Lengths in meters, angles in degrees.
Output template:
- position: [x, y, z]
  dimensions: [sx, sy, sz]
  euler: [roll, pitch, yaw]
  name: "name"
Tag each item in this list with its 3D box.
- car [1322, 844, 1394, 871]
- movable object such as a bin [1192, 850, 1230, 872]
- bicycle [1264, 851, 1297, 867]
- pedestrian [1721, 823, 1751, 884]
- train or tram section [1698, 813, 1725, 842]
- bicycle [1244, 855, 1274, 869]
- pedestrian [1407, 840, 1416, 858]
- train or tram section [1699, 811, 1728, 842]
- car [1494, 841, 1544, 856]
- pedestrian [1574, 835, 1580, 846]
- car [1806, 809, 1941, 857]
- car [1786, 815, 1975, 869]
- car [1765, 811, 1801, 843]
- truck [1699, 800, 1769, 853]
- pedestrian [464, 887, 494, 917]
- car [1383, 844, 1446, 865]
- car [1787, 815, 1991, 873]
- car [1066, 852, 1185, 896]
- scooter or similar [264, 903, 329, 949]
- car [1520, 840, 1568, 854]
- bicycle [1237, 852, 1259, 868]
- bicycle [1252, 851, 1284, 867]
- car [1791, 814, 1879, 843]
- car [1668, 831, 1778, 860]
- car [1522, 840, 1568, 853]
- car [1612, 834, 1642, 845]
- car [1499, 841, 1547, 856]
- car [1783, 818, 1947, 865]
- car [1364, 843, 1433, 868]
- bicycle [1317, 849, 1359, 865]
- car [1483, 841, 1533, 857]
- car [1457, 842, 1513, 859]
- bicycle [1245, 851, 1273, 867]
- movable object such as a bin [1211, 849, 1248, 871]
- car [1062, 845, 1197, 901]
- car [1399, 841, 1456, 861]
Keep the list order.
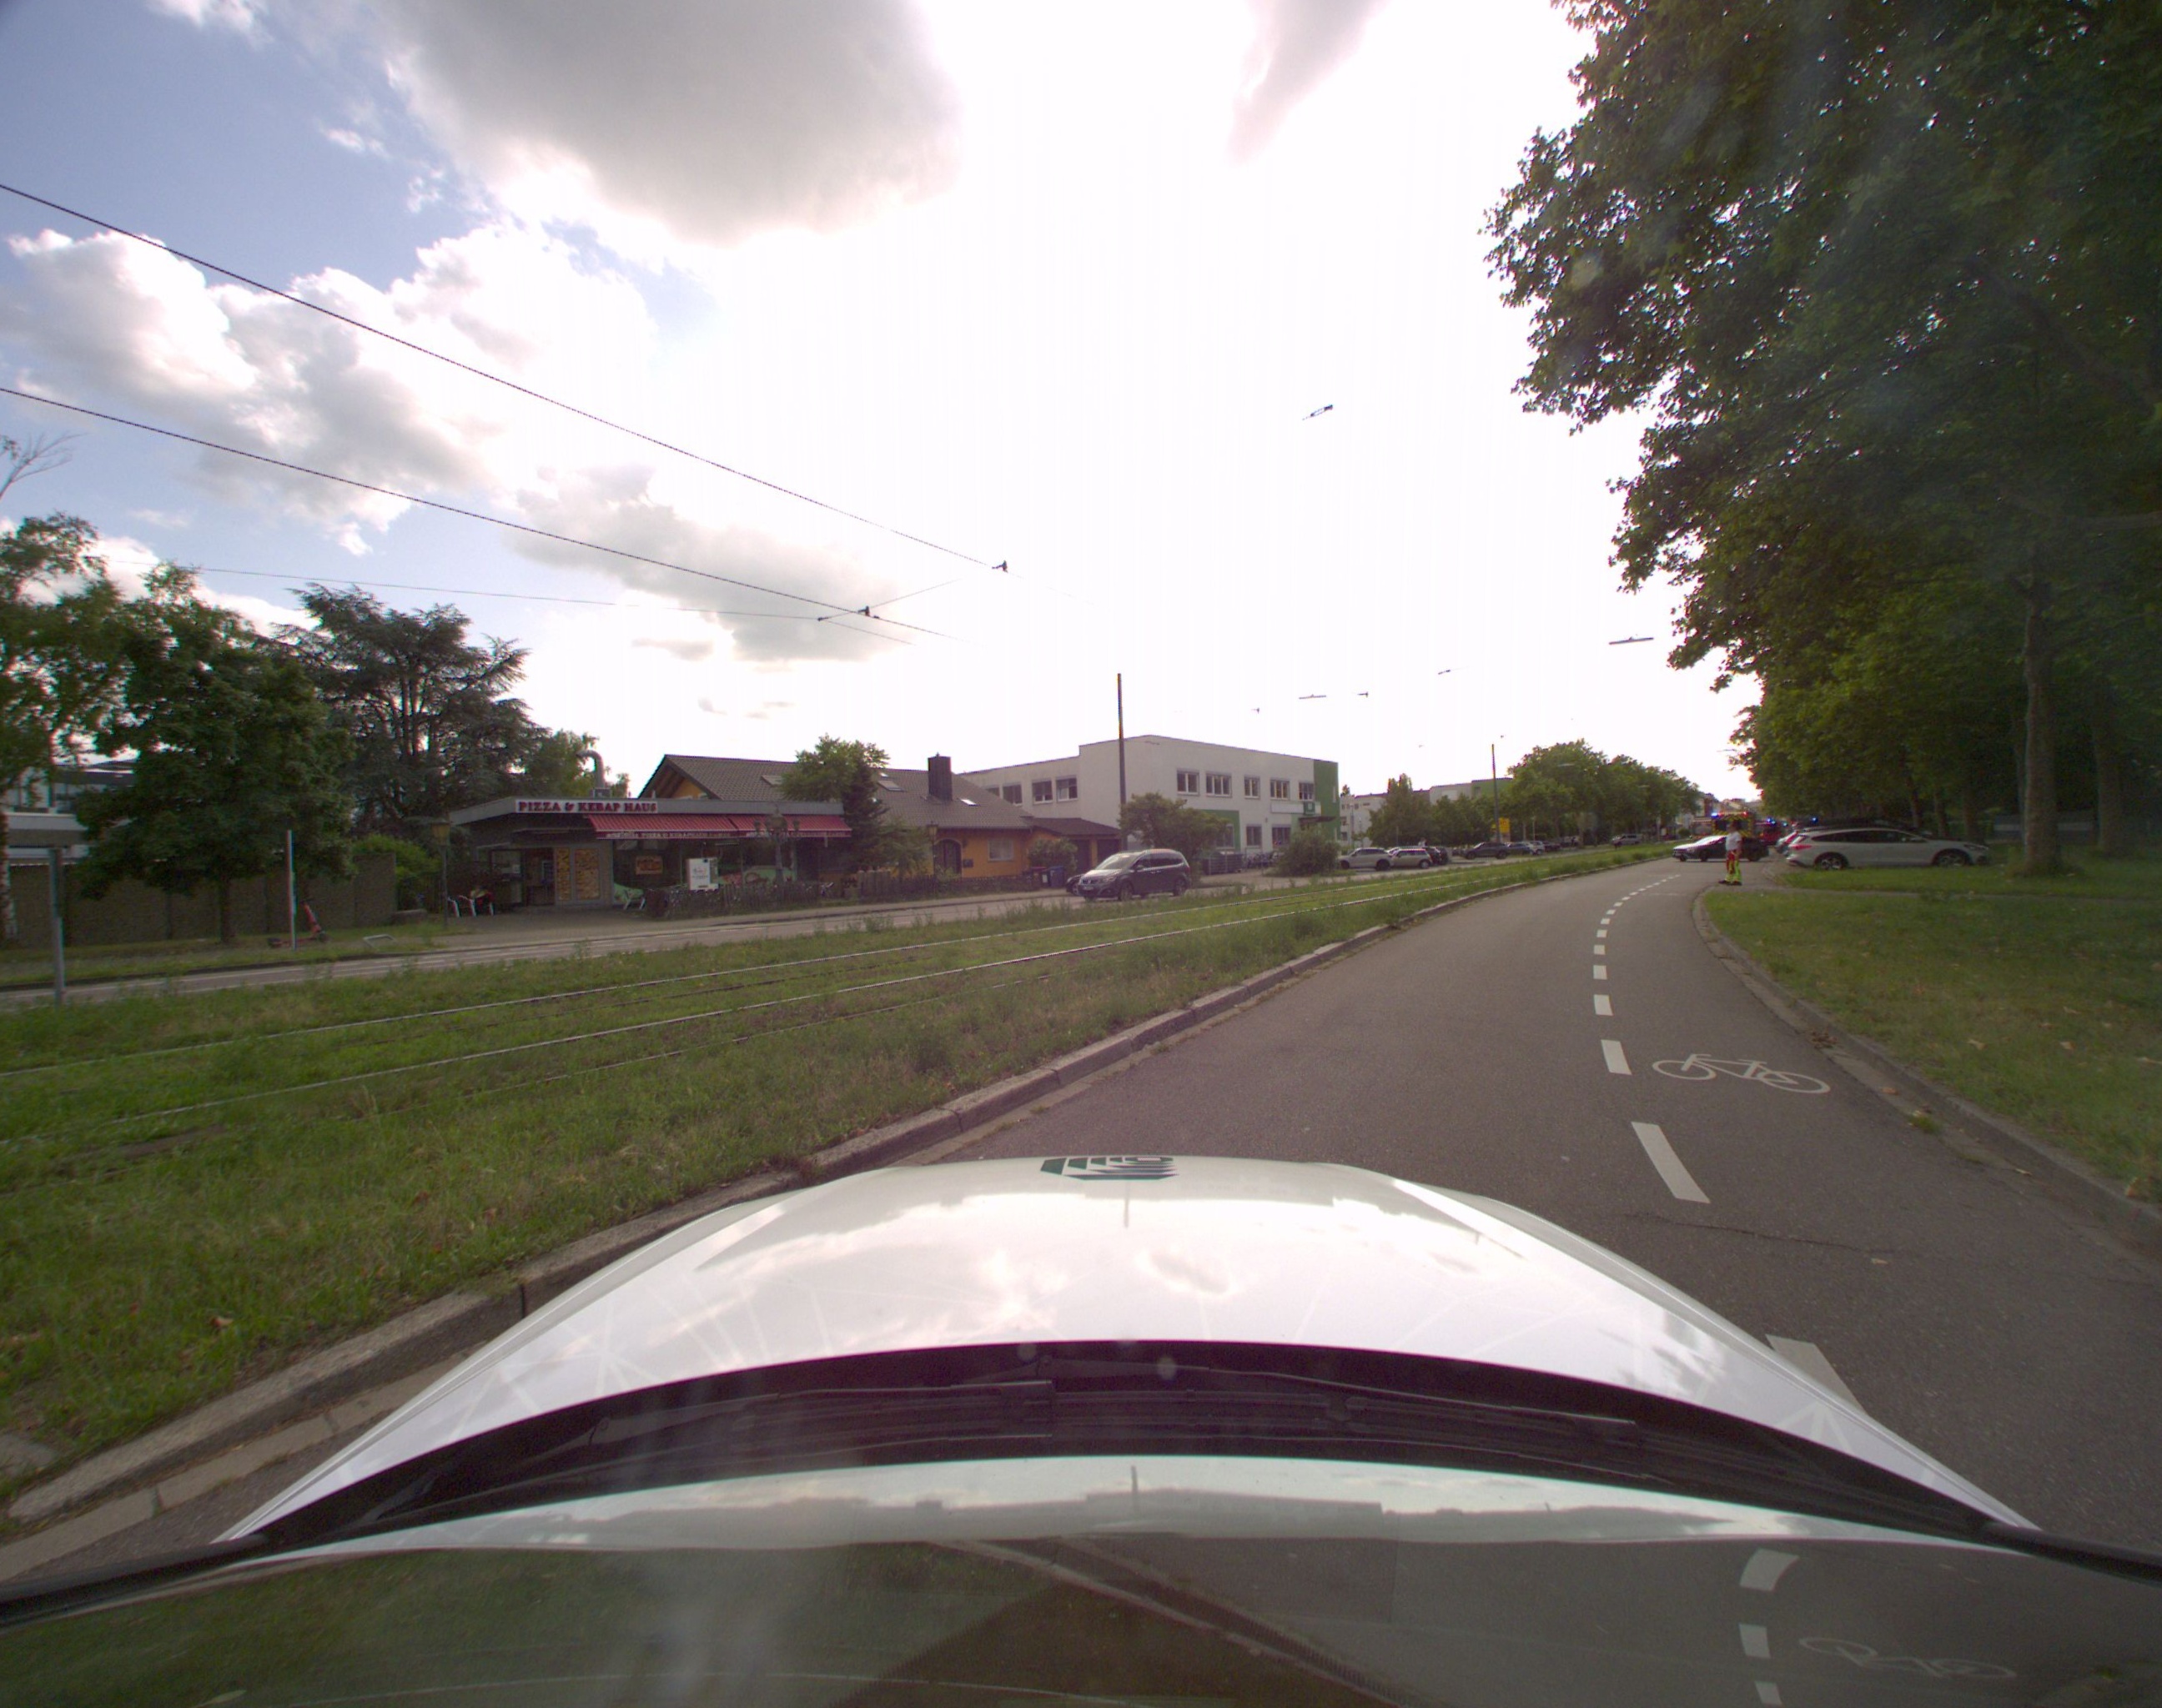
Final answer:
- position: [18.615, 0.239, 54.837]
  dimensions: [4.276, 1.629, 1.907]
  euler: [-2, 0, 9]
  name: "car"
- position: [8.265, 0.441, 51.879]
  dimensions: [2.129, 1.326, 1.359]
  euler: [-2, 0, -45]
  name: "movable object such as a bin"
- position: [15.324, 0.368, 62.602]
  dimensions: [0.752, 1.166, 2.389]
  euler: [-2, 0, -41]
  name: "bicycle"
- position: [18.271, -0.015, 22.710]
  dimensions: [0.580, 1.684, 0.497]
  euler: [-2, -1, 43]
  name: "pedestrian"
- position: [83.632, -3.520, 108.116]
  dimensions: [2.463, 3.596, 7.470]
  euler: [-3, 0, 36]
  name: "train or tram section"
- position: [13.462, 0.587, 61.505]
  dimensions: [0.735, 0.970, 2.132]
  euler: [-2, 0, -44]
  name: "bicycle"
- position: [30.347, -0.458, 74.786]
  dimensions: [0.590, 1.674, 0.544]
  euler: [-3, 0, 33]
  name: "pedestrian"
- position: [79.235, -3.418, 102.106]
  dimensions: [2.463, 3.596, 7.470]
  euler: [-3, 0, 36]
  name: "train or tram section"
- position: [45.688, -0.543, 85.007]
  dimensions: [4.265, 1.364, 1.911]
  euler: [-2, 0, 19]
  name: "car"
- position: [77.657, -2.170, 127.464]
  dimensions: [0.614, 1.729, 0.650]
  euler: [0, 0, 42]
  name: "pedestrian"
- position: [37.964, -0.955, 39.200]
  dimensions: [4.499, 2.014, 2.012]
  euler: [-3, -1, 43]
  name: "car"
- position: [27.560, -0.362, 28.336]
  dimensions: [4.484, 1.644, 2.012]
  euler: [-2, -2, 40]
  name: "car"
- position: [77.178, -2.868, 89.620]
  dimensions: [2.937, 3.330, 7.506]
  euler: [0, 1, 40]
  name: "car"
- position: [45.313, -1.859, 56.403]
  dimensions: [3.153, 3.317, 7.569]
  euler: [-3, 0, 43]
  name: "truck"
- position: [-20.475, 1.629, 27.699]
  dimensions: [0.731, 0.929, 0.767]
  euler: [-1, 1, -43]
  name: "pedestrian"
- position: [25.086, 0.039, 61.426]
  dimensions: [4.126, 1.504, 1.868]
  euler: [-2, 0, 14]
  name: "car"
- position: [25.874, -0.264, 26.356]
  dimensions: [4.484, 1.644, 2.012]
  euler: [-2, -2, 40]
  name: "car"
- position: [1.898, 0.830, 34.470]
  dimensions: [4.525, 1.580, 2.011]
  euler: [-3, -1, 22]
  name: "car"
- position: [-19.764, 1.814, 20.545]
  dimensions: [1.108, 1.059, 0.398]
  euler: [-1, 0, -33]
  name: "scooter or similar"
- position: [50.747, -0.776, 89.302]
  dimensions: [4.265, 1.364, 1.911]
  euler: [-2, 0, 19]
  name: "car"
- position: [12.376, 0.439, 60.402]
  dimensions: [0.708, 1.166, 1.605]
  euler: [-2, 0, -31]
  name: "bicycle"
- position: [14.237, 0.377, 62.036]
  dimensions: [0.765, 1.166, 2.323]
  euler: [-2, 0, -42]
  name: "bicycle"
- position: [89.381, -2.986, 96.717]
  dimensions: [7.363, 3.330, 2.994]
  euler: [0, 1, 37]
  name: "car"
- position: [35.454, -0.467, 45.063]
  dimensions: [4.570, 1.393, 1.843]
  euler: [-2, 0, 4]
  name: "car"
- position: [53.119, -0.838, 93.386]
  dimensions: [4.265, 1.364, 1.911]
  euler: [-2, 0, 19]
  name: "car"
- position: [95.010, -2.490, 141.827]
  dimensions: [3.962, 1.837, 1.827]
  euler: [0, 0, 10]
  name: "car"
- position: [47.255, -0.577, 87.101]
  dimensions: [4.265, 1.364, 1.911]
  euler: [-2, 0, 19]
  name: "car"
- position: [30.905, -0.450, 32.339]
  dimensions: [4.484, 1.644, 2.012]
  euler: [-2, -2, 40]
  name: "car"
- position: [22.106, 0.105, 56.839]
  dimensions: [4.270, 1.629, 1.909]
  euler: [-2, 0, 14]
  name: "car"
- position: [21.074, 0.250, 66.823]
  dimensions: [3.103, 1.166, 1.149]
  euler: [-2, 0, 38]
  name: "bicycle"
- position: [43.293, -0.497, 82.667]
  dimensions: [4.265, 1.364, 1.911]
  euler: [-2, 0, 19]
  name: "car"
- position: [36.900, -0.364, 74.498]
  dimensions: [4.266, 1.364, 1.911]
  euler: [-2, 0, 18]
  name: "car"
- position: [12.799, 0.361, 58.704]
  dimensions: [1.774, 1.081, 0.741]
  euler: [-2, 0, 40]
  name: "bicycle"
- position: [9.781, 0.413, 53.478]
  dimensions: [2.144, 1.326, 1.359]
  euler: [-2, 0, -45]
  name: "movable object such as a bin"
- position: [1.776, 0.618, 28.680]
  dimensions: [4.768, 1.722, 1.975]
  euler: [-2, 0, -44]
  name: "car"
- position: [28.340, -0.237, 66.718]
  dimensions: [4.122, 1.504, 1.870]
  euler: [-2, 0, 20]
  name: "car"
